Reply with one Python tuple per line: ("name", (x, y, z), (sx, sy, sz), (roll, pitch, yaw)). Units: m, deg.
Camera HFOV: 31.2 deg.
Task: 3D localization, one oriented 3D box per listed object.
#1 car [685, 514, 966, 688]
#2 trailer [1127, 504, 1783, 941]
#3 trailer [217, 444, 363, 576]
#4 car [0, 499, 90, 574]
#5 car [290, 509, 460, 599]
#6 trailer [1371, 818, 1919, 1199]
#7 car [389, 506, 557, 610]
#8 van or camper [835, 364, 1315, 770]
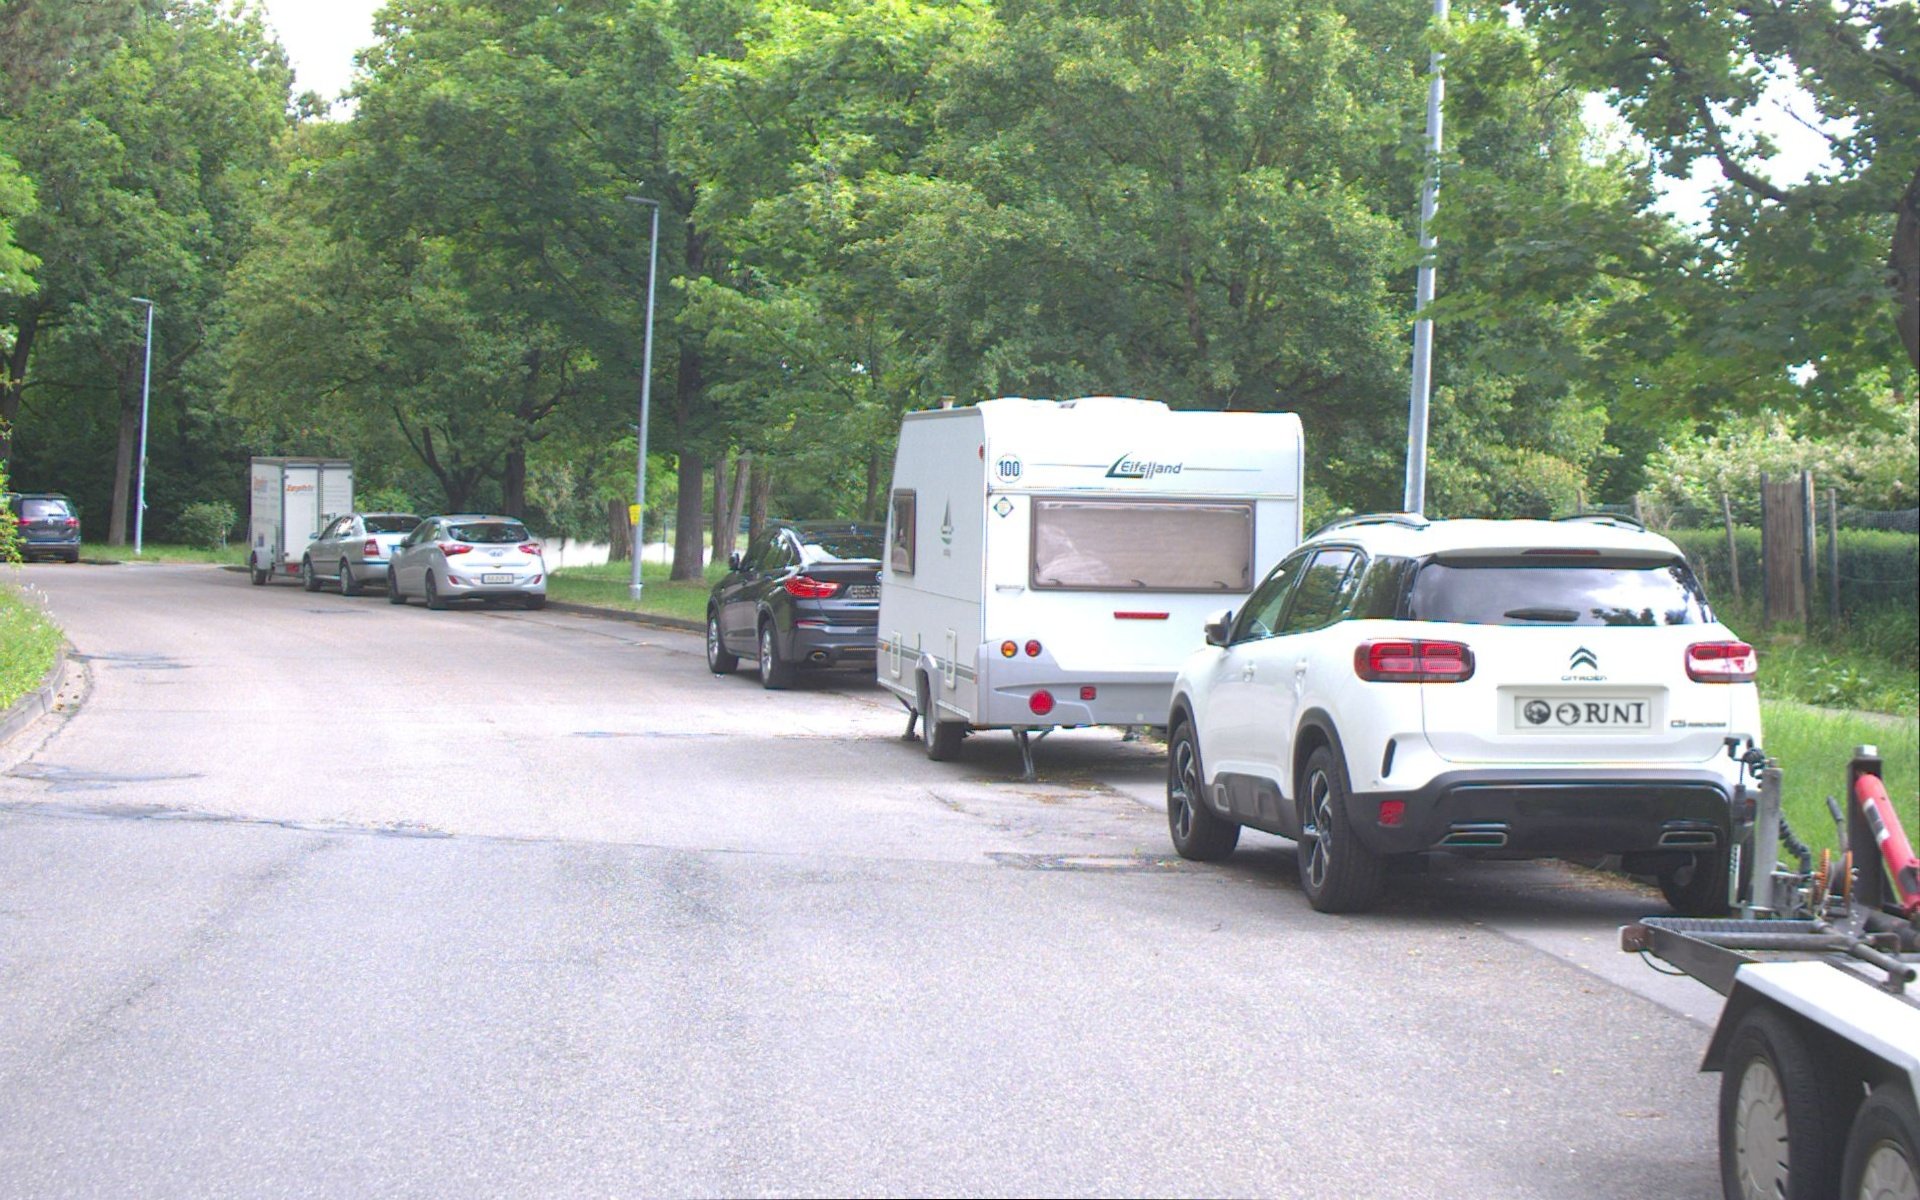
("car", (-1.449, -0.039, 35.044), (1.848, 1.637, 4.532), (1, 1, -15))
("trailer", (2.097, 0.477, 15.992), (1.772, 1.725, 4.651), (0, 0, -8))
("trailer", (-12.800, -1.717, 65.540), (1.760, 2.418, 3.888), (0, 1, -26))
("car", (-22.524, -1.517, 82.170), (1.775, 1.657, 4.840), (3, 0, -33))
("car", (-10.369, -0.831, 60.716), (1.741, 1.520, 4.637), (0, 1, -26))
("trailer", (2.660, 1.075, 7.561), (2.104, 0.649, 6.402), (2, 0, -6))
("car", (-7.762, -0.637, 54.490), (1.901, 1.471, 4.060), (2, -1, -18))
("van or camper", (0.644, -0.247, 25.062), (2.160, 2.527, 6.033), (2, 0, -10))
